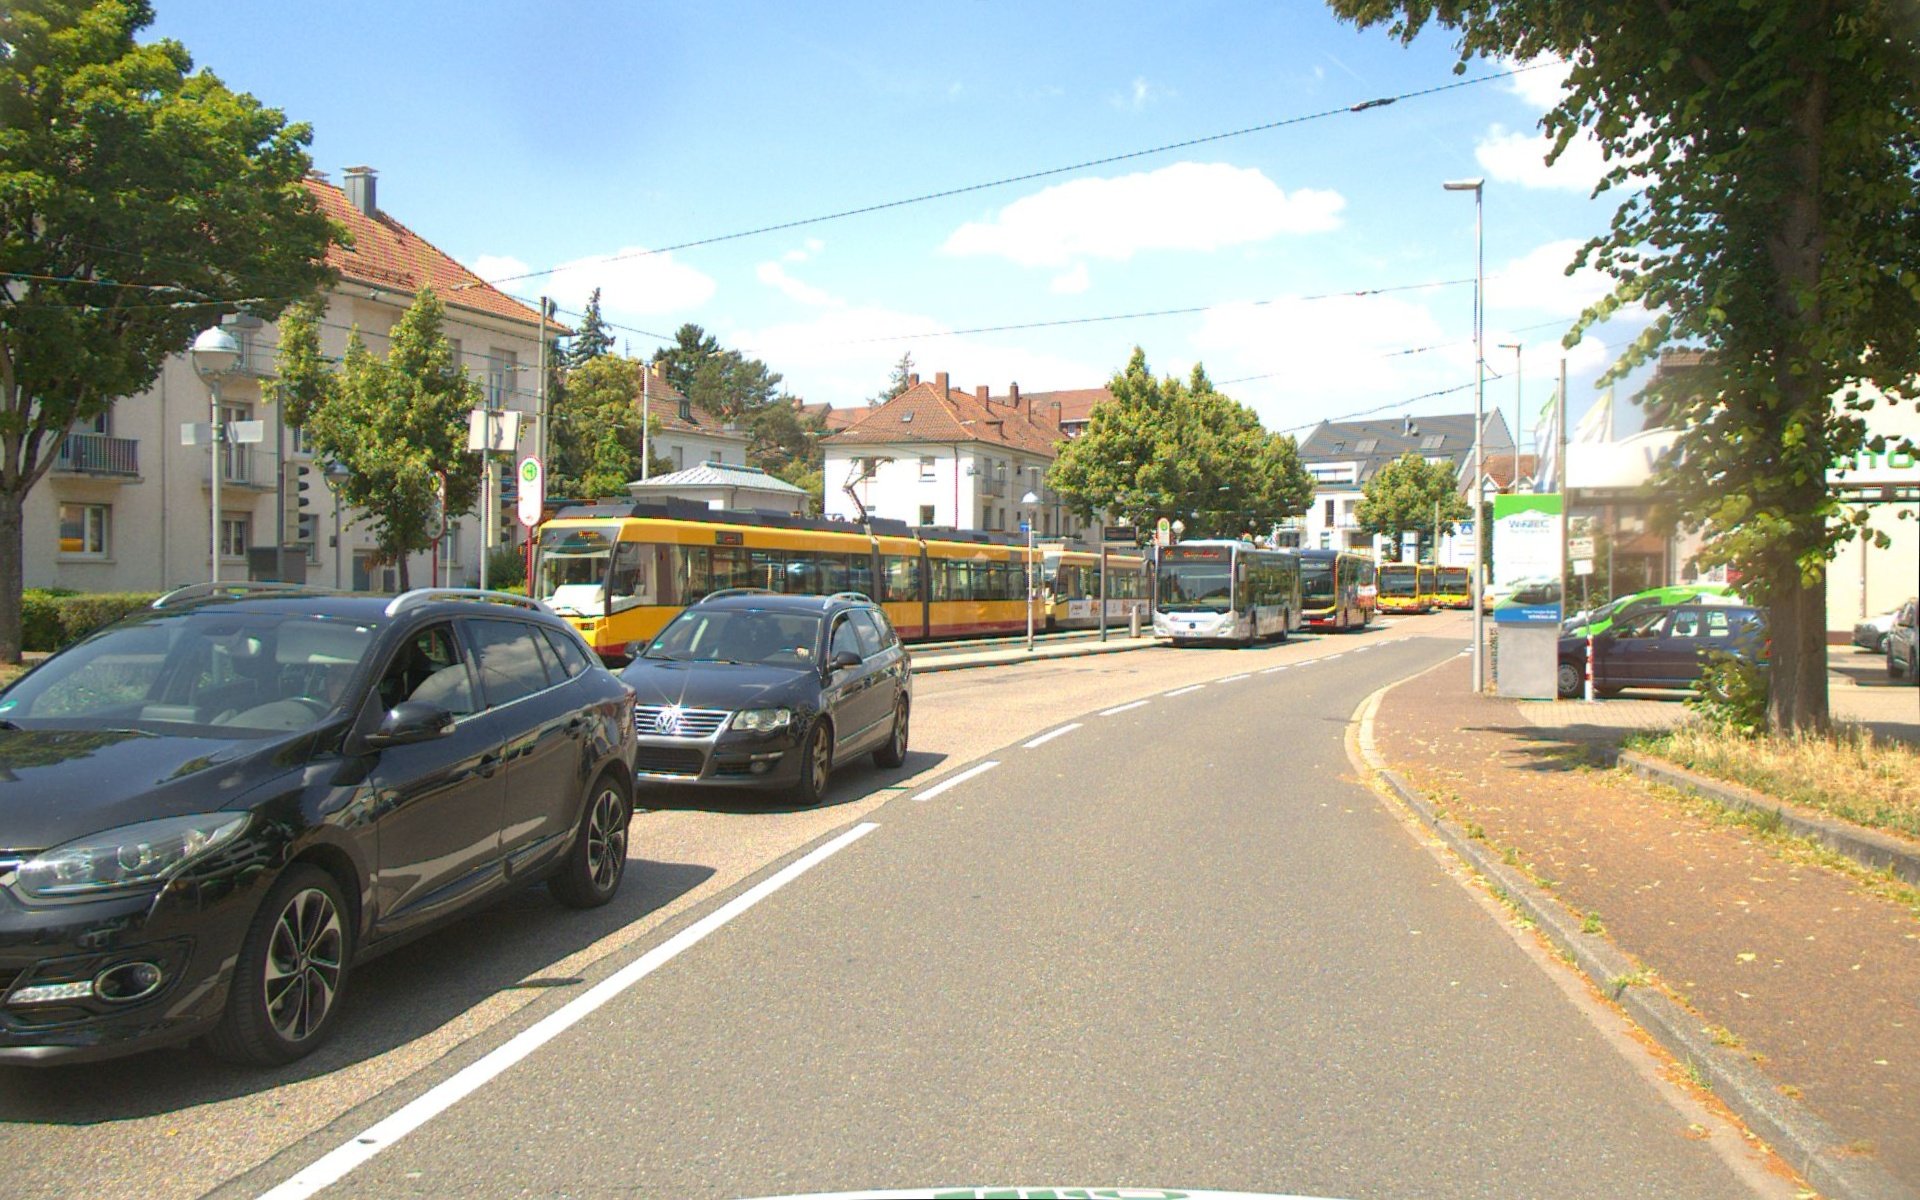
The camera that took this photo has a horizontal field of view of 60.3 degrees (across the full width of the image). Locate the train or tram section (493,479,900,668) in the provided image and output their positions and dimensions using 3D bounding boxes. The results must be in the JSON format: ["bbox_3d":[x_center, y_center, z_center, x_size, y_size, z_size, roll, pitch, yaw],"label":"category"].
[{"bbox_3d":[-5.437,-0.537,38.868,2.751,3.631,14.182,1,0,21],"label":"train or tram section"}]

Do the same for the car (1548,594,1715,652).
[{"bbox_3d":[18.065,0.605,44.641,3.845,1.545,1.824,0,0,9],"label":"car"}]

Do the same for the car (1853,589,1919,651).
[{"bbox_3d":[30.887,0.662,52.374,4.213,1.840,2.002,2,2,17],"label":"car"}]

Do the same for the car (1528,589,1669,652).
[{"bbox_3d":[21.021,0.644,54.631,4.214,1.840,2.001,2,2,19],"label":"car"}]

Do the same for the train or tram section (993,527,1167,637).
[{"bbox_3d":[5.241,-0.695,67.408,2.728,3.963,15.553,1,0,21],"label":"train or tram section"}]

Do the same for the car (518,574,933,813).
[{"bbox_3d":[-1.623,0.605,13.260,1.951,1.545,4.516,1,0,10],"label":"car"}]

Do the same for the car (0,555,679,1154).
[{"bbox_3d":[-2.758,0.631,6.564,1.951,1.526,4.429,1,0,8],"label":"car"}]

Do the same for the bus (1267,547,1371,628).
[{"bbox_3d":[15.532,-0.522,70.812,2.674,3.183,12.009,1,0,20],"label":"bus"}]

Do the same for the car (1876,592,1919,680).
[{"bbox_3d":[19.387,0.689,32.210,1.966,1.624,4.290,1,0,19],"label":"car"}]

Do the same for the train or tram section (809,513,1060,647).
[{"bbox_3d":[-0.329,-0.572,52.358,2.728,3.631,14.706,1,0,21],"label":"train or tram section"}]

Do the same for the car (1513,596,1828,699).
[{"bbox_3d":[10.874,0.674,25.482,4.100,1.464,1.889,0,0,44],"label":"car"}]

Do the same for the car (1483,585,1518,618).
[{"bbox_3d":[33.600,0.089,102.766,1.771,2.015,3.999,1,0,23],"label":"car"}]

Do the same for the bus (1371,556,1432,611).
[{"bbox_3d":[27.937,-0.996,104.434,2.674,3.275,11.050,1,0,20],"label":"bus"}]

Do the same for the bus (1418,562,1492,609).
[{"bbox_3d":[35.753,-1.006,119.162,2.586,3.275,9.916,1,0,32],"label":"bus"}]

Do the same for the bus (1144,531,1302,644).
[{"bbox_3d":[8.632,-0.376,52.694,2.674,3.183,12.009,1,0,20],"label":"bus"}]

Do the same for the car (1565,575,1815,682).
[{"bbox_3d":[13.326,0.484,30.420,1.815,1.825,3.988,0,0,-28],"label":"car"}]
